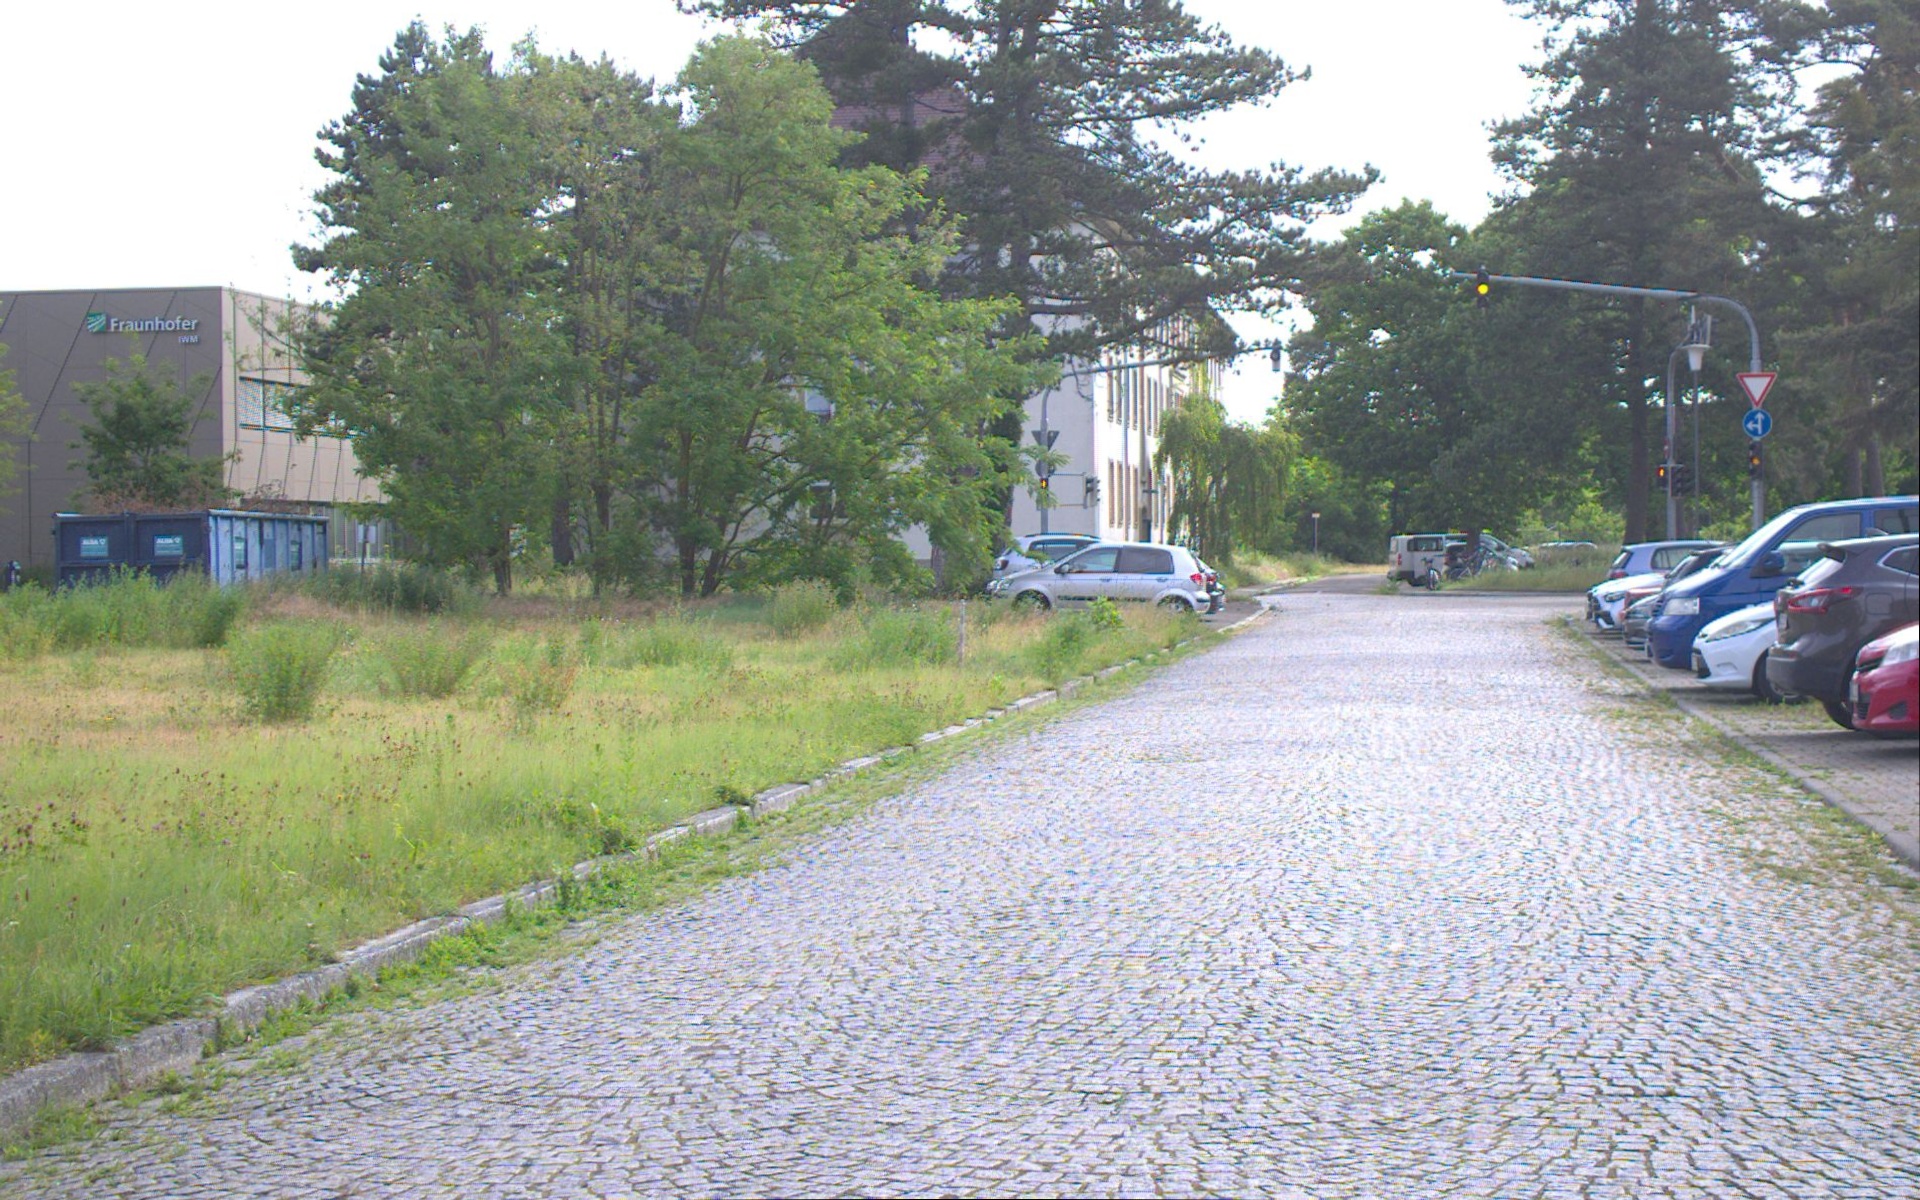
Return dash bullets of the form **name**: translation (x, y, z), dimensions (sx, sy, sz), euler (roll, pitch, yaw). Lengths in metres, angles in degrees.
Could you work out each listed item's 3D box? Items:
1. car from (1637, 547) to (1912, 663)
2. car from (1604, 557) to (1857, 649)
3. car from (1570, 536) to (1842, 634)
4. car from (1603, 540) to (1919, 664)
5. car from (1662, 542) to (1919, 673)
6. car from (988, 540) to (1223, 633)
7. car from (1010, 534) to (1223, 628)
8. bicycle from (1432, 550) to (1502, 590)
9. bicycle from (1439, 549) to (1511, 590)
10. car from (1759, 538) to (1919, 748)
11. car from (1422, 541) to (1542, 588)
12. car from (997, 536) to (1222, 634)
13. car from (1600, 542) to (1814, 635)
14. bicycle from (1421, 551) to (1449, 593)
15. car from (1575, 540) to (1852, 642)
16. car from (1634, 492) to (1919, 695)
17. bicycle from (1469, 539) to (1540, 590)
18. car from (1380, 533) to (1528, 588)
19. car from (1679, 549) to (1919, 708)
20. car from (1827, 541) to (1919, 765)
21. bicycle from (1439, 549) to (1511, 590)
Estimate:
- **car**: translation (11.021, 0.052, 46.654), dimensions (3.292, 1.499, 1.664), euler (-1, 1, -2)
- **car**: translation (11.019, 0.031, 49.303), dimensions (3.292, 1.263, 1.664), euler (-1, 1, 3)
- **car**: translation (12.221, -0.256, 56.495), dimensions (4.123, 1.538, 1.664), euler (-1, 1, 3)
- **car**: translation (10.164, 0.011, 43.776), dimensions (3.597, 1.501, 1.664), euler (-1, 1, -2)
- **car**: translation (10.079, 0.074, 40.738), dimensions (3.293, 1.499, 1.664), euler (0, 1, 6)
- **car**: translation (2.520, -0.252, 59.690), dimensions (3.987, 1.546, 2.000), euler (-1, 1, 2)
- **car**: translation (2.948, -0.375, 65.312), dimensions (3.987, 1.744, 1.927), euler (0, 1, 1)
- **bicycle**: translation (16.190, -0.972, 109.811), dimensions (2.160, 1.264, 0.812), euler (0, 1, 2)
- **bicycle**: translation (16.183, -0.961, 107.992), dimensions (2.160, 1.264, 0.812), euler (0, 1, 2)
- **car**: translation (8.288, 0.307, 26.540), dimensions (3.951, 1.575, 1.761), euler (0, 1, 7)
- **car**: translation (18.559, -1.282, 122.339), dimensions (3.987, 1.638, 2.000), euler (0, 1, 2)
- **car**: translation (2.702, -0.290, 62.204), dimensions (3.987, 1.700, 2.000), euler (-1, 1, 2)
- **car**: translation (12.799, -0.204, 59.009), dimensions (3.389, 1.538, 1.391), euler (-1, 1, 3)
- **bicycle**: translation (14.427, -0.865, 104.451), dimensions (0.810, 1.264, 1.972), euler (0, 1, 9)
- **car**: translation (11.742, -0.152, 53.713), dimensions (3.987, 1.538, 1.664), euler (-1, 1, 3)
- **car**: translation (9.462, -0.086, 35.464), dimensions (4.783, 2.033, 1.738), euler (0, 1, 6)
- **bicycle**: translation (17.278, -1.127, 109.141), dimensions (2.160, 1.610, 0.812), euler (0, 1, 2)
- **car**: translation (18.050, -1.442, 125.723), dimensions (5.050, 2.007, 2.000), euler (0, 1, -2)
- **car**: translation (8.907, 0.236, 33.012), dimensions (3.723, 1.419, 1.654), euler (-2, 1, 6)
- **car**: translation (8.188, 0.339, 23.956), dimensions (3.988, 1.513, 1.737), euler (0, 1, 8)
- **bicycle**: translation (16.259, -0.964, 108.574), dimensions (2.160, 1.264, 0.812), euler (0, 1, 2)
